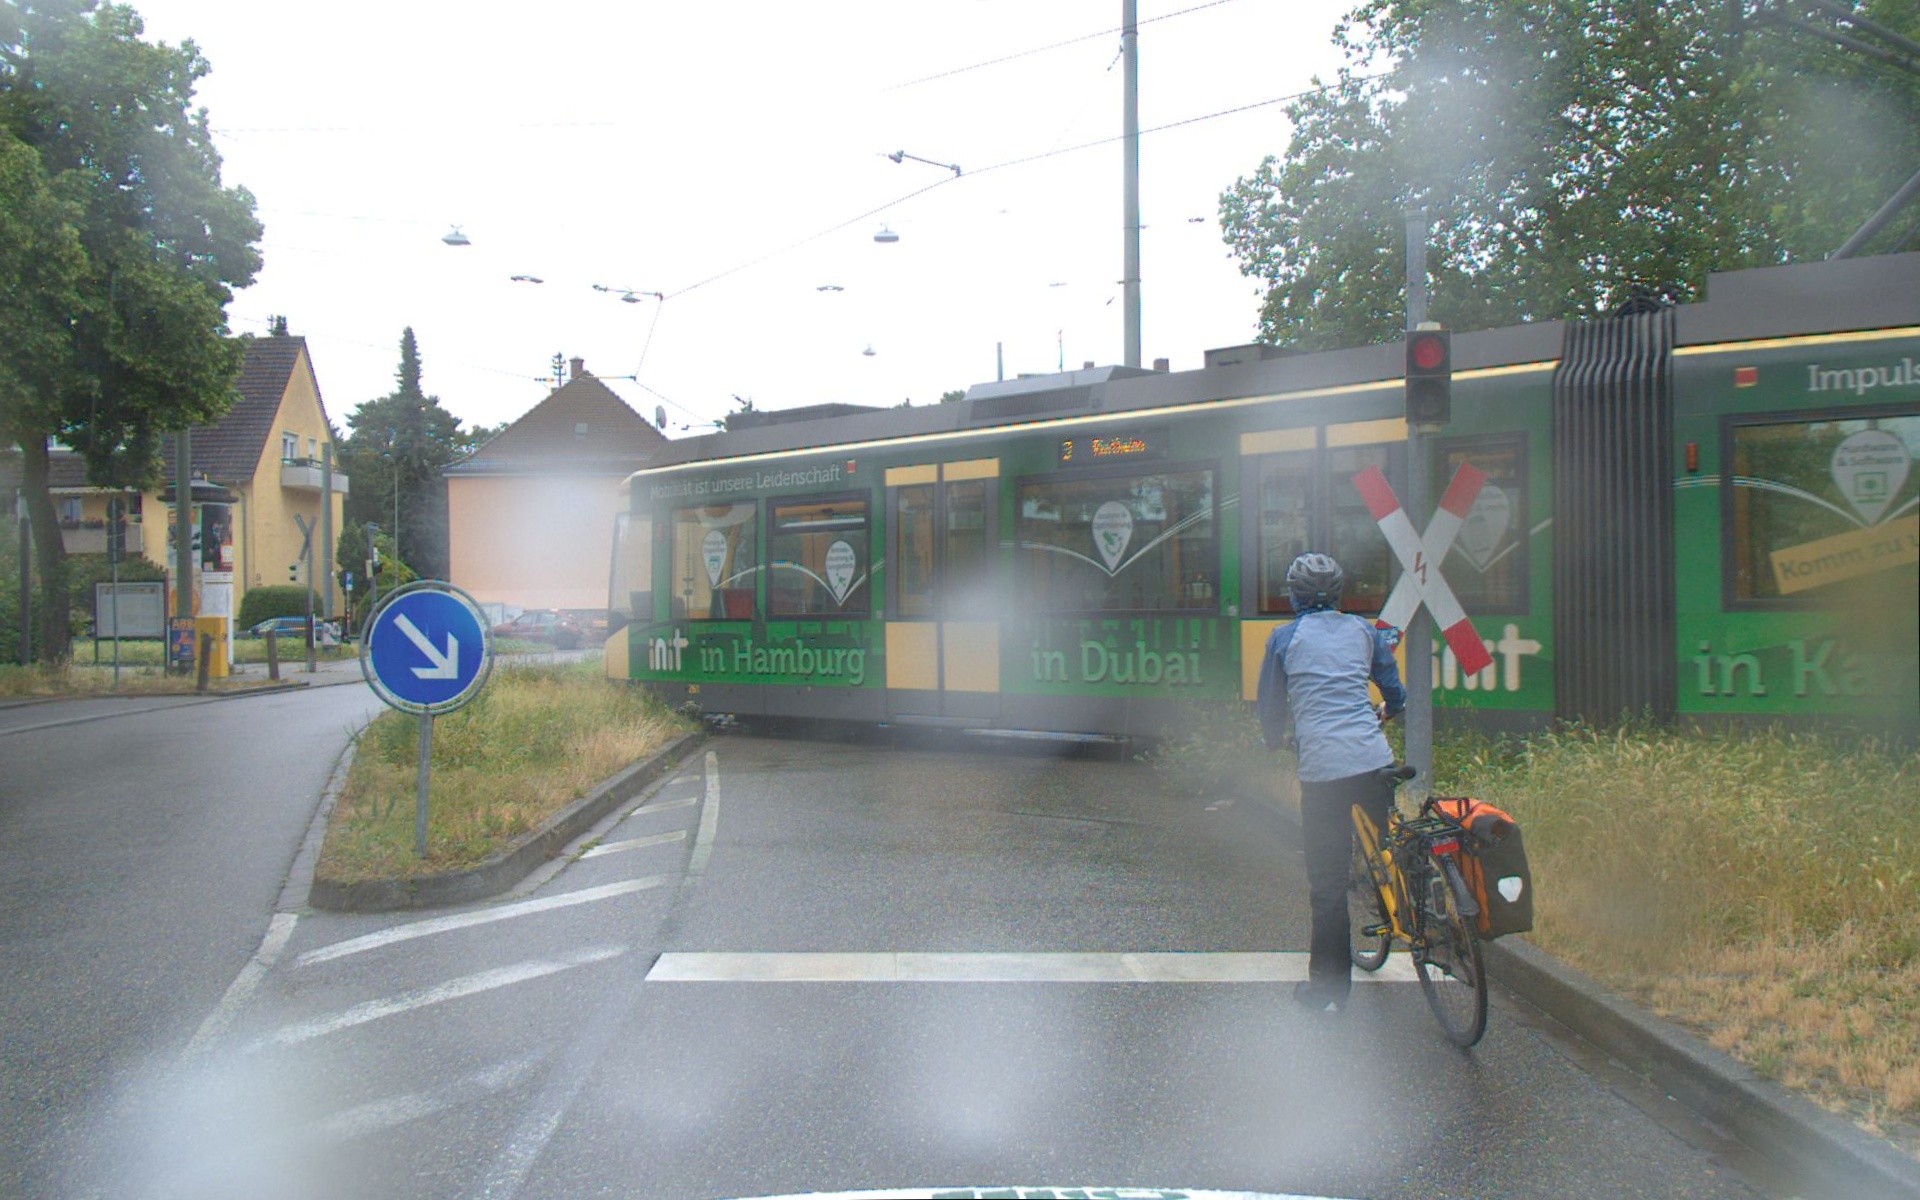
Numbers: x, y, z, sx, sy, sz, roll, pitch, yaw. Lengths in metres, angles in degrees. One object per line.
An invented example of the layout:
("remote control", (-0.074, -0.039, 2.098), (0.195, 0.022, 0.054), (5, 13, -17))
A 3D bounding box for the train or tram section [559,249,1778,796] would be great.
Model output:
("train or tram section", (0.784, -0.439, 16.410), (12.907, 3.615, 2.751), (-1, 0, 44))

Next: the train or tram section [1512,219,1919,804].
("train or tram section", (6.614, -0.559, 11.416), (4.877, 3.615, 2.766), (-1, 0, 28))

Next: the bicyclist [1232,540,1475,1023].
("bicyclist", (1.427, 0.628, 6.123), (0.653, 1.654, 0.852), (1, -1, -2))

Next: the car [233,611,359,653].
("car", (-24.434, 1.176, 60.965), (3.911, 1.482, 1.831), (1, 0, -7))

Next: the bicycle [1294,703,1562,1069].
("bicycle", (1.651, 0.954, 6.080), (0.437, 1.022, 1.727), (-1, 1, -2))

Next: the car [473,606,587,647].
("car", (-16.178, 0.994, 62.335), (3.911, 1.482, 1.831), (1, 0, -7))
